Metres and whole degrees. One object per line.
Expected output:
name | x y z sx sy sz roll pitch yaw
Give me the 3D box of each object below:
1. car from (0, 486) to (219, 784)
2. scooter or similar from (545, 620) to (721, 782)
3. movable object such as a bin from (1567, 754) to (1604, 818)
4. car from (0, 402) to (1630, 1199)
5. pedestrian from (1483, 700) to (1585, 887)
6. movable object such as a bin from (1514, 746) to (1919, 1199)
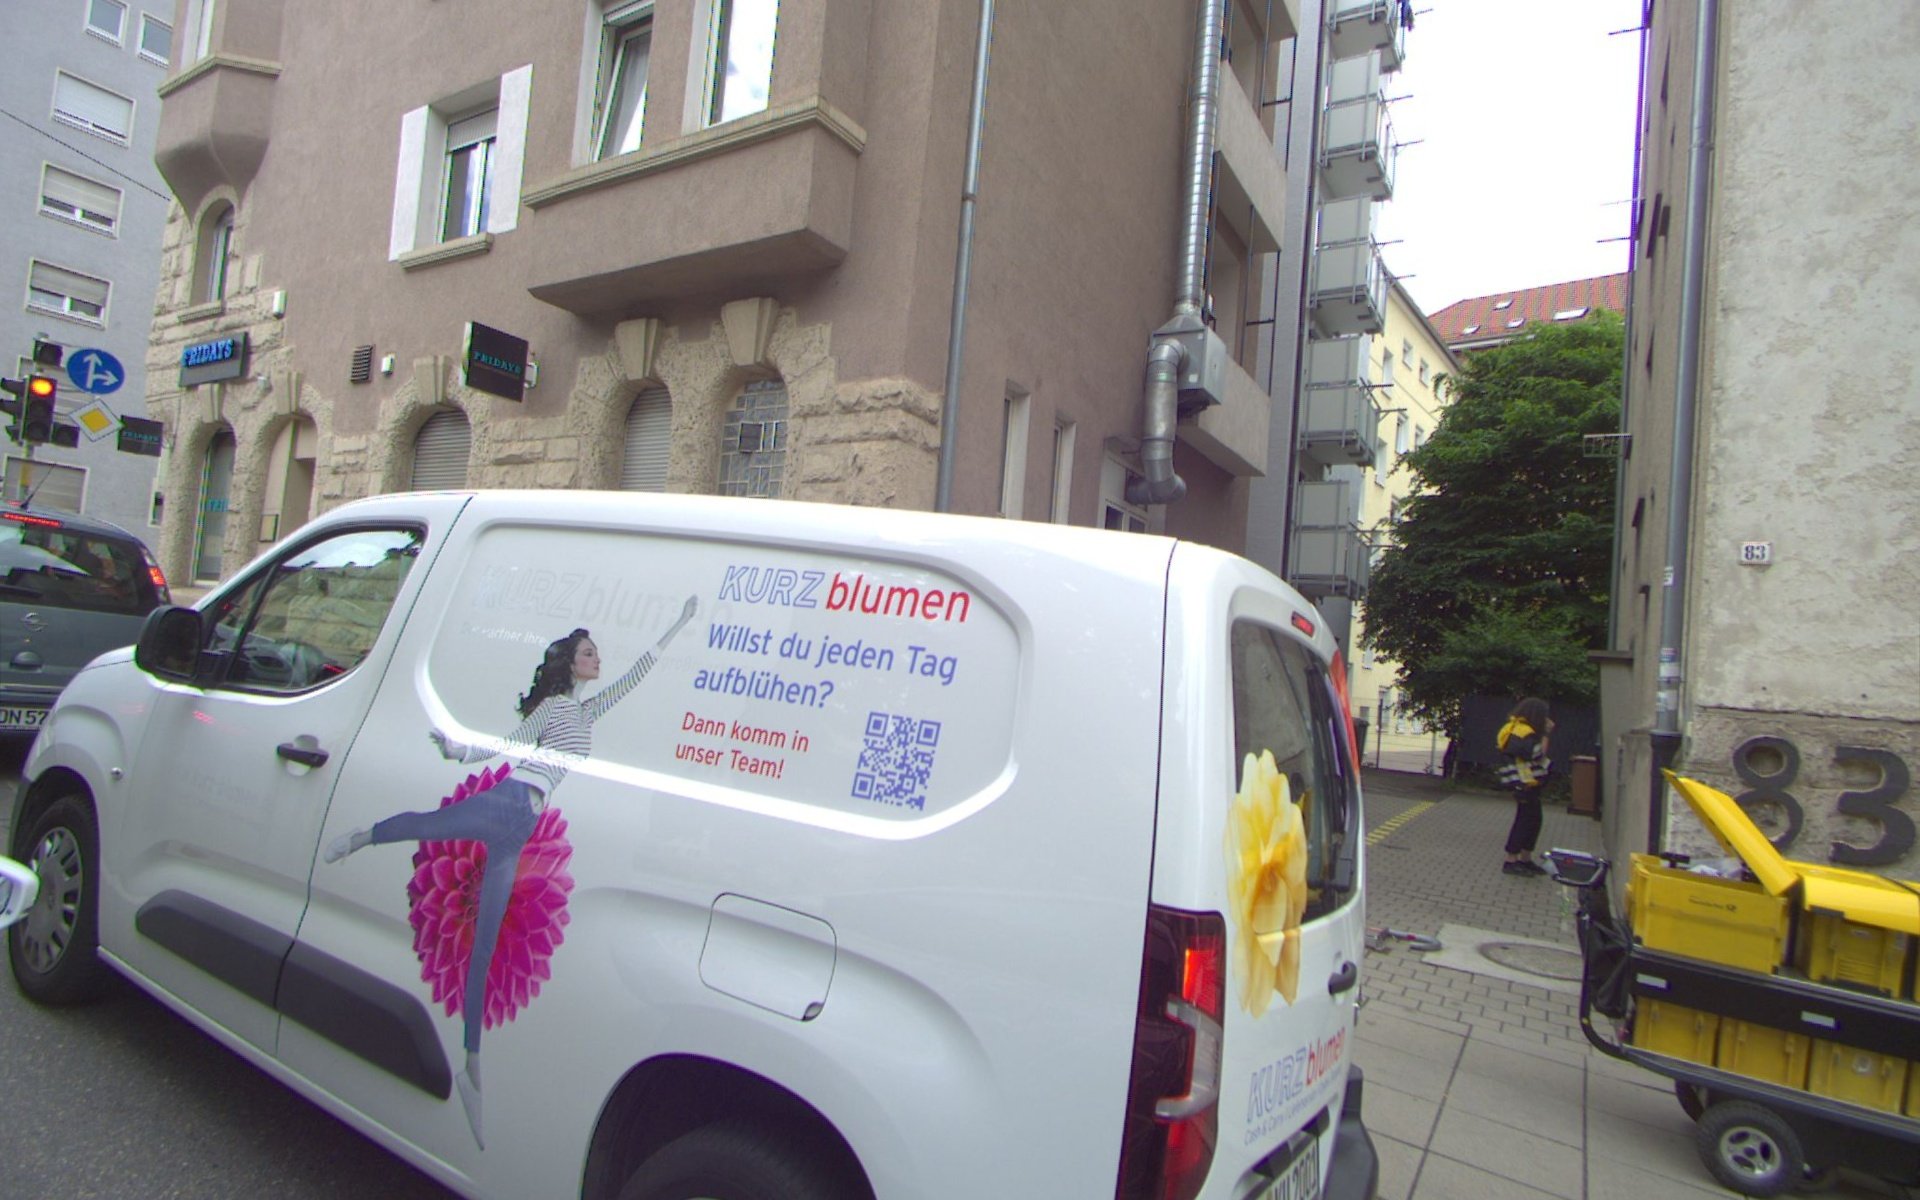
car | -6.710 0.050 6.531 3.608 1.614 1.634 6 -5 32
scooter or similar | -2.728 0.811 8.347 1.400 1.117 0.527 6 -1 34
movable object such as a bin | 9.932 2.945 15.982 0.405 0.922 0.340 6 -1 32
car | -0.874 0.599 3.104 4.597 1.793 1.983 6 -5 30
pedestrian | 5.569 1.835 9.802 0.770 1.665 0.811 1 -3 24
movable object such as a bin | 3.384 1.461 3.961 1.979 1.391 1.223 6 0 30
